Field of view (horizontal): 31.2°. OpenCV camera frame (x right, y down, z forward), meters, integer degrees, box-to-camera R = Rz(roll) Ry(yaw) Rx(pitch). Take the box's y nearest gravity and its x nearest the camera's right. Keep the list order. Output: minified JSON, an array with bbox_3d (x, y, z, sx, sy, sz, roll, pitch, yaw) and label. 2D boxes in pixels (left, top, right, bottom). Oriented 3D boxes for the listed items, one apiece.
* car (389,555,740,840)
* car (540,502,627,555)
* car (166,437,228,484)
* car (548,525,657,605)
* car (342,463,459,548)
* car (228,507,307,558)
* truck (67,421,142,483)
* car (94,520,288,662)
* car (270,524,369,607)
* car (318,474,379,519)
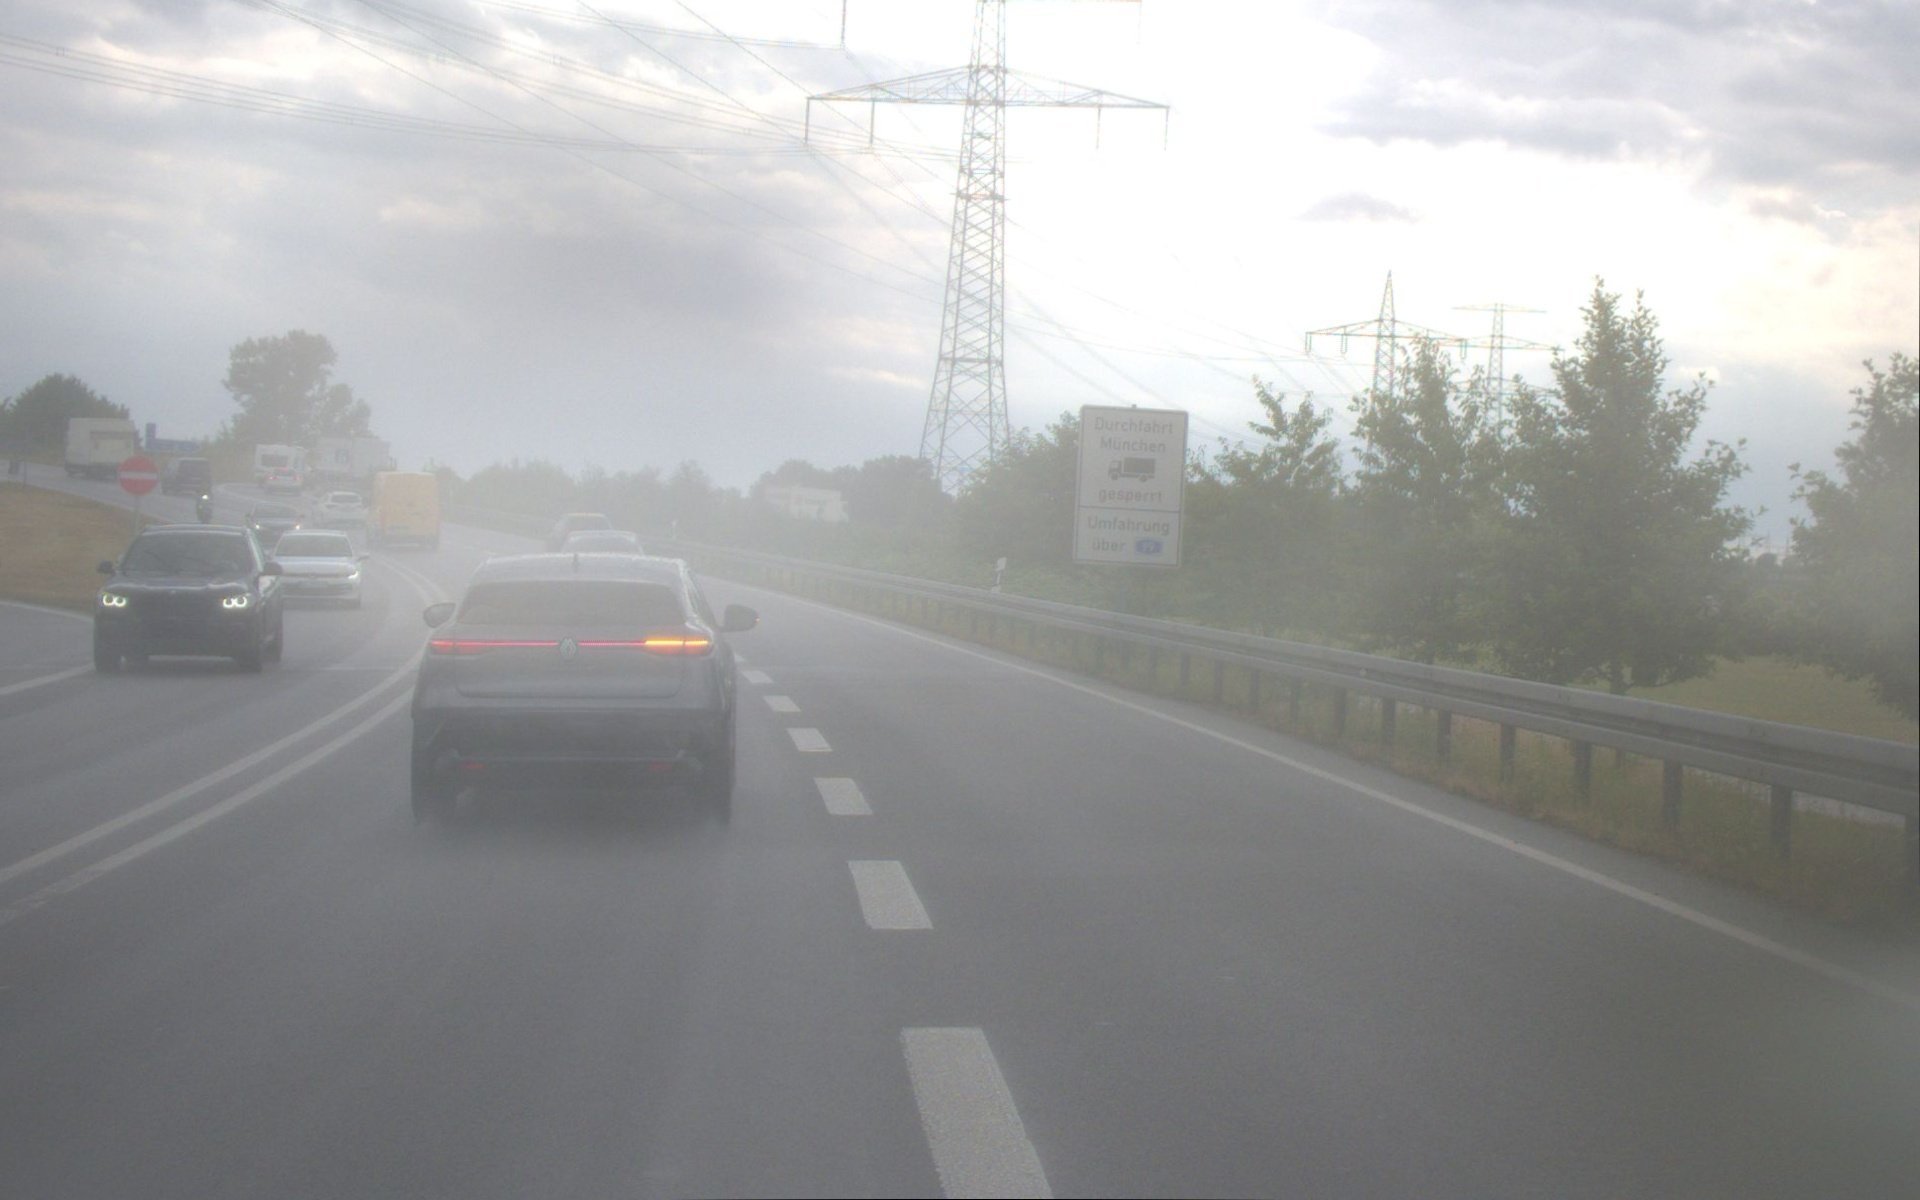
[{"bbox_3d":[-2.256,0.538,20.218,1.791,1.436,4.000,3,-1,-5],"label":"car"},{"bbox_3d":[-11.205,-2.107,102.172,1.791,1.536,4.001,0,1,-18],"label":"car"},{"bbox_3d":[-39.691,-7.210,178.739,2.601,2.243,5.537,2,1,-18],"label":"car"},{"bbox_3d":[-6.808,-0.673,65.169,1.791,1.436,4.001,1,1,-9],"label":"car"},{"bbox_3d":[-18.651,-3.130,114.304,2.572,2.716,7.198,0,1,-20],"label":"car"},{"bbox_3d":[-23.166,-2.234,114.899,1.799,1.588,4.226,1,0,-22],"label":"car"},{"bbox_3d":[-50.260,-8.628,201.780,3.045,3.373,7.646,2,1,-23],"label":"truck"},{"bbox_3d":[-8.969,-0.109,40.374,1.799,1.569,4.260,0,0,-7],"label":"car"},{"bbox_3d":[-12.229,-0.650,65.807,1.705,1.475,4.612,2,0,-9],"label":"car"},{"bbox_3d":[-24.408,-4.144,137.129,1.791,1.682,4.002,1,2,-18],"label":"car"}]
